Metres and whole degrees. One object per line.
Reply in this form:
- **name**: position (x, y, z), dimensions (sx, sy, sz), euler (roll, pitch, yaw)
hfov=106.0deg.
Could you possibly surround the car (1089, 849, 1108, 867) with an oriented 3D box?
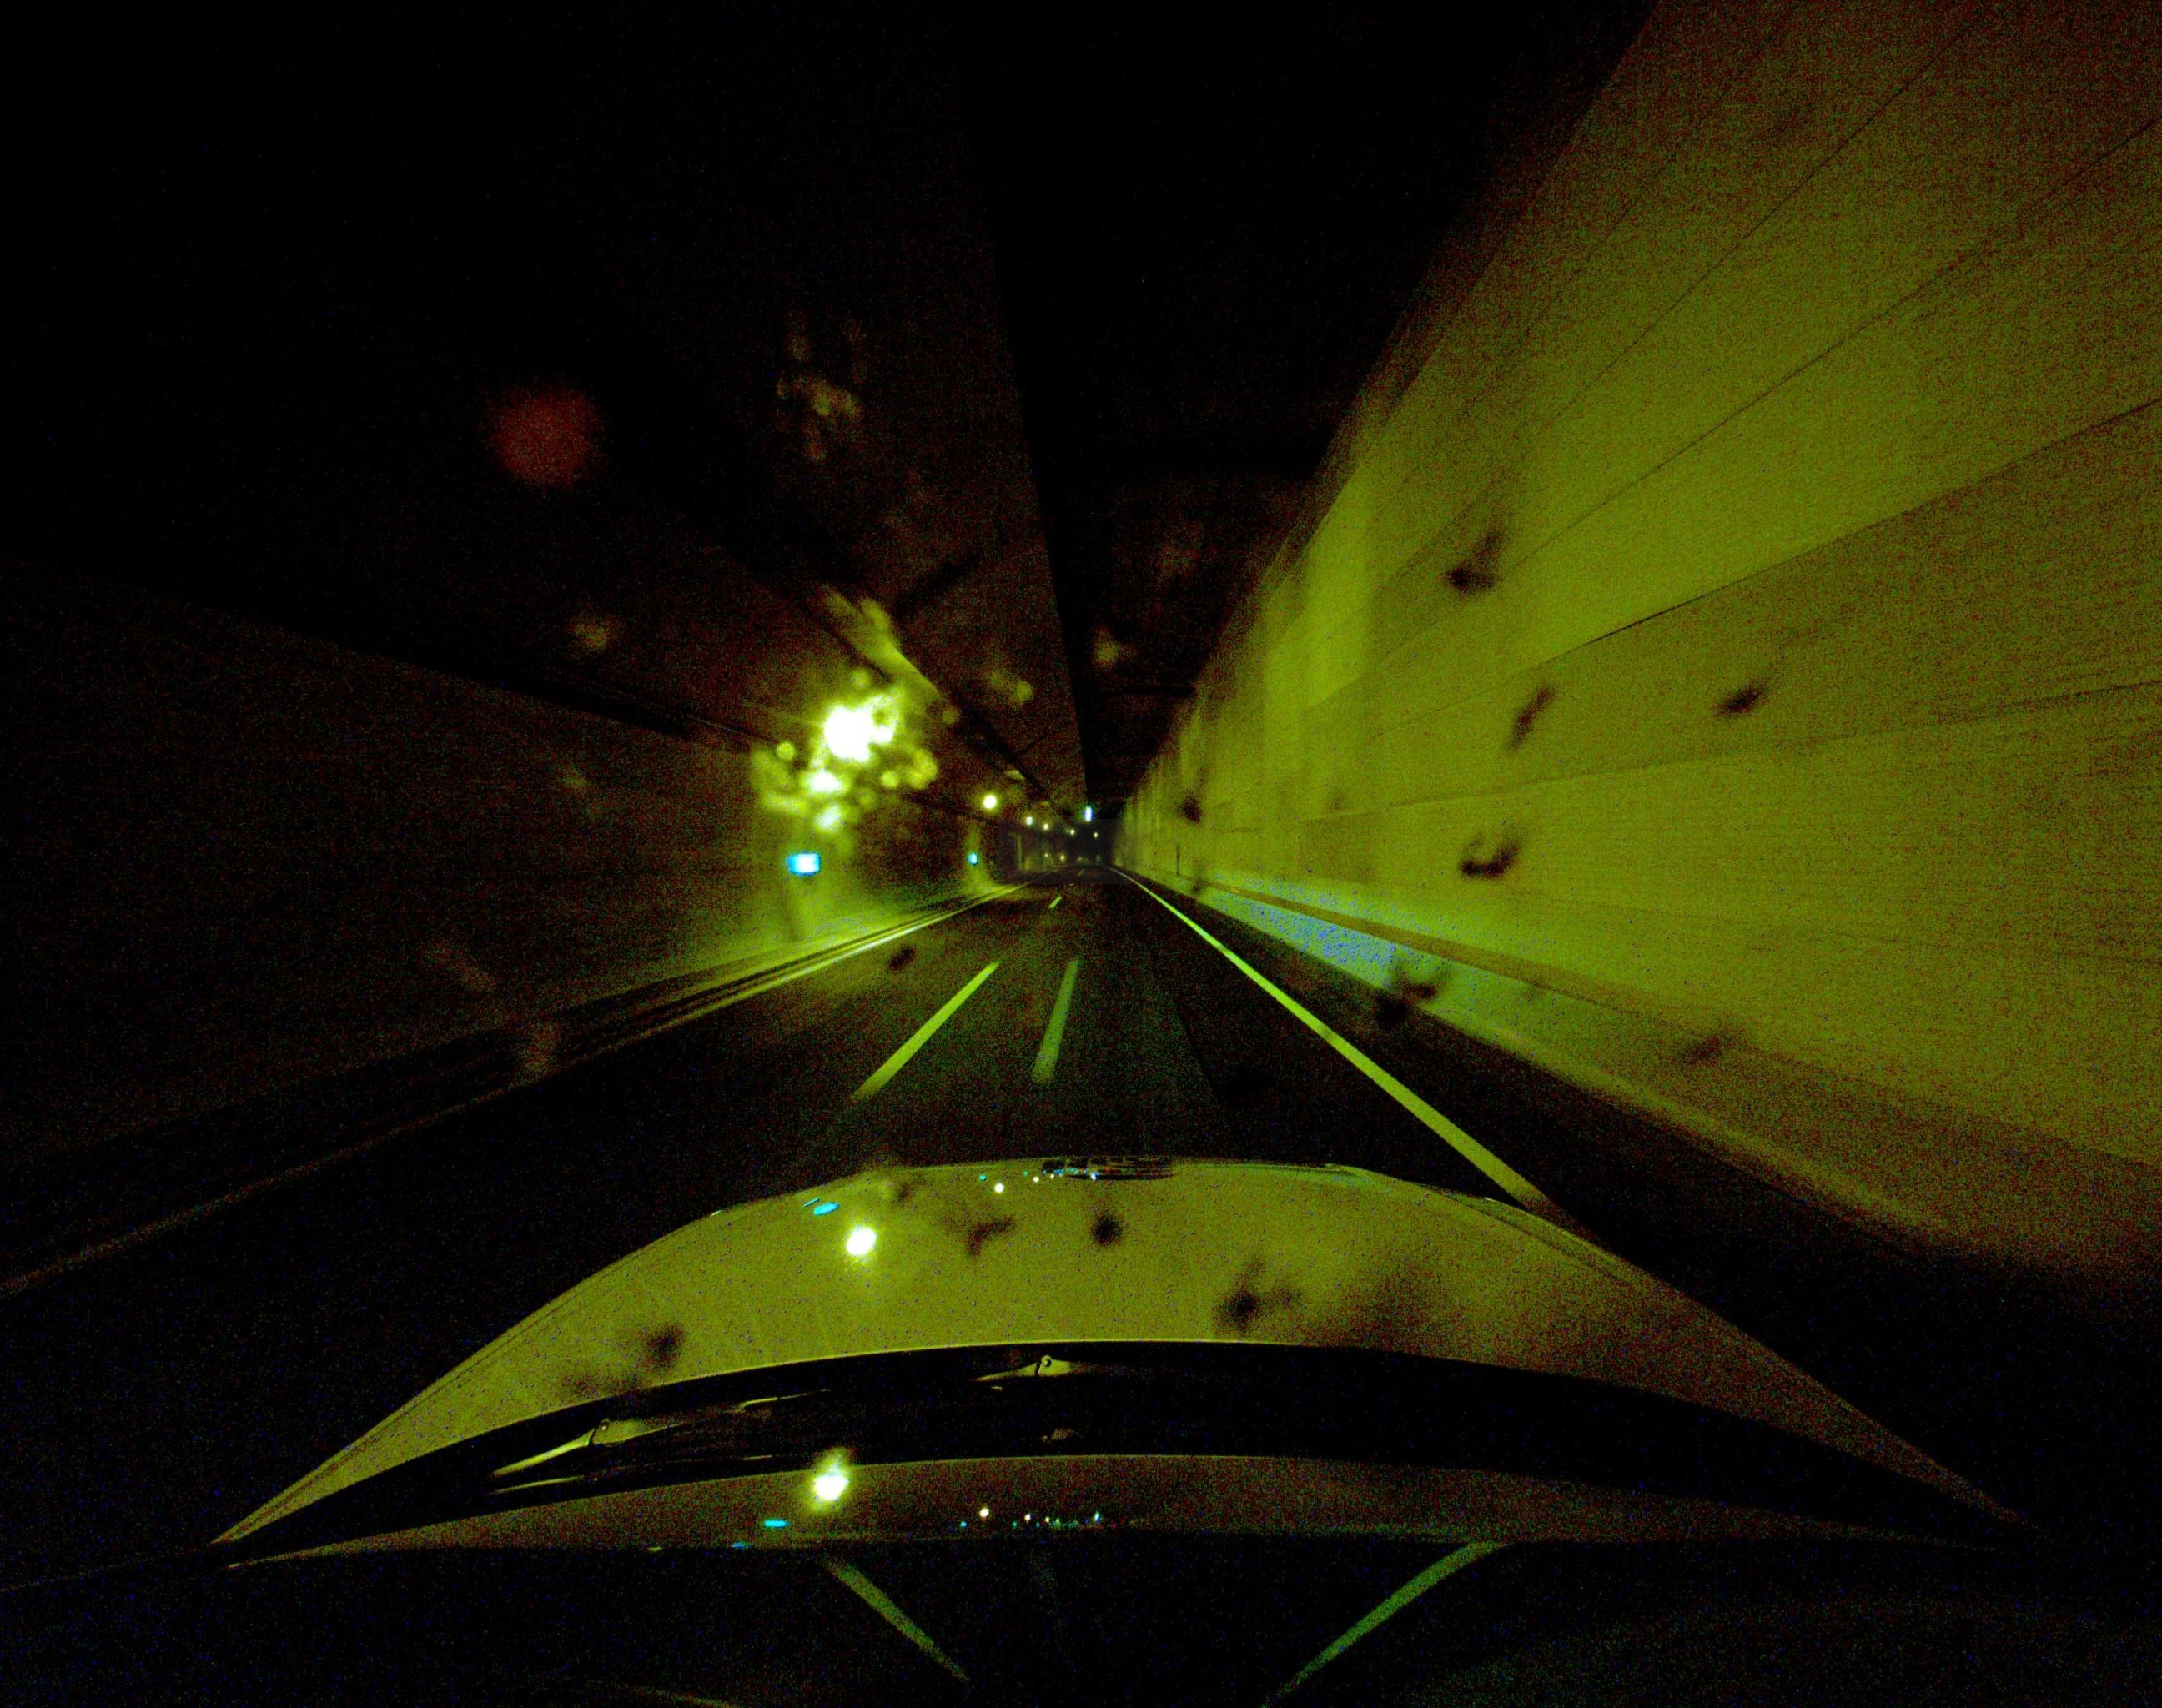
- **car**: position (1.841, 0.420, 85.687), dimensions (1.940, 1.794, 4.001), euler (-1, 0, 1)

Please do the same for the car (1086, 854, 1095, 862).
- **car**: position (2.221, 0.921, 196.572), dimensions (1.922, 1.687, 4.004), euler (-1, 0, 4)

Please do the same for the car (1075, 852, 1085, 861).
- **car**: position (-0.184, 0.563, 165.587), dimensions (1.923, 1.687, 4.001), euler (-1, 0, 1)
